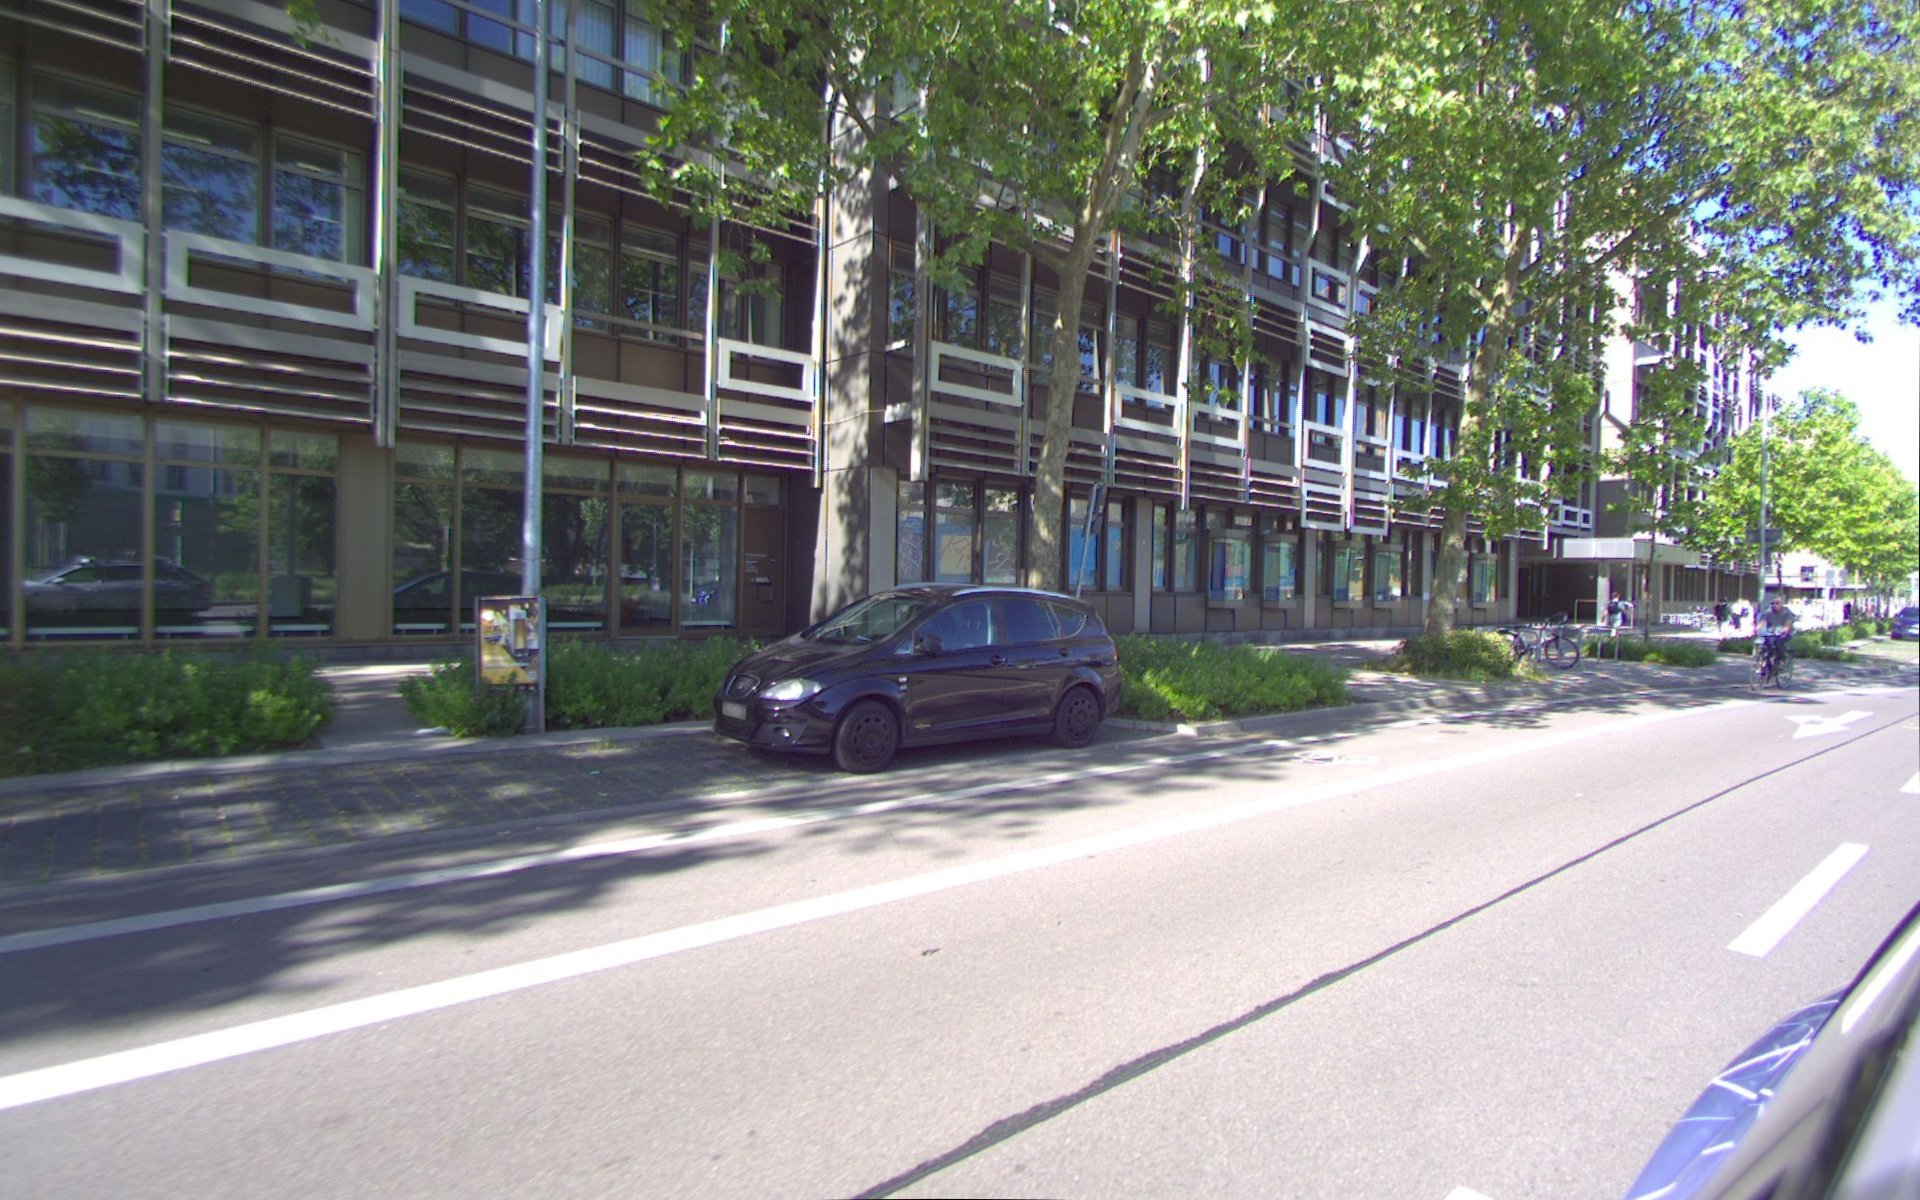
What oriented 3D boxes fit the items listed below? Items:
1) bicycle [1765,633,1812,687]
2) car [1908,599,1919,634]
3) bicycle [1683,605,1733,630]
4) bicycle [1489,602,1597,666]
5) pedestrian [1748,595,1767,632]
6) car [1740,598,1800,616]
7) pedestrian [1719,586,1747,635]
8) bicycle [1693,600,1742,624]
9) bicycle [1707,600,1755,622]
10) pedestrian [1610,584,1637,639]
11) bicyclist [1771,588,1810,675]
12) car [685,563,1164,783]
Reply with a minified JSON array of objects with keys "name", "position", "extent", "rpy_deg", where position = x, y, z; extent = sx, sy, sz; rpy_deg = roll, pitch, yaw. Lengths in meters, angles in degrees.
[{"name":"bicycle","position":[15.782,1.110,19.268],"extent":[0.497,0.917,2.161],"rpy_deg":[-1,-1,44]},{"name":"car","position":[47.826,0.828,49.500],"extent":[4.767,1.677,1.852],"rpy_deg":[0,3,-44]},{"name":"bicycle","position":[36.510,0.837,49.397],"extent":[0.419,1.111,1.863],"rpy_deg":[1,3,-39]},{"name":"bicycle","position":[12.838,0.719,22.344],"extent":[0.569,1.252,1.939],"rpy_deg":[1,2,-43]},{"name":"pedestrian","position":[33.025,0.558,41.904],"extent":[0.723,1.493,0.511],"rpy_deg":[1,0,-41]},{"name":"car","position":[78.156,0.666,97.720],"extent":[4.377,1.563,1.831],"rpy_deg":[2,1,34]},{"name":"pedestrian","position":[27.886,0.371,36.487],"extent":[0.789,1.749,0.648],"rpy_deg":[1,0,-41]},{"name":"bicycle","position":[37.591,0.578,50.261],"extent":[0.419,1.023,1.863],"rpy_deg":[1,3,-39]},{"name":"bicycle","position":[38.832,0.559,50.994],"extent":[0.419,0.950,1.863],"rpy_deg":[1,3,-39]},{"name":"pedestrian","position":[21.149,0.368,32.268],"extent":[0.760,1.722,0.511],"rpy_deg":[1,0,-42]},{"name":"bicyclist","position":[15.876,0.581,19.351],"extent":[0.513,1.621,0.528],"rpy_deg":[1,1,45]},{"name":"car","position":[-0.175,0.557,9.928],"extent":[4.552,1.663,1.709],"rpy_deg":[1,2,-39]}]
